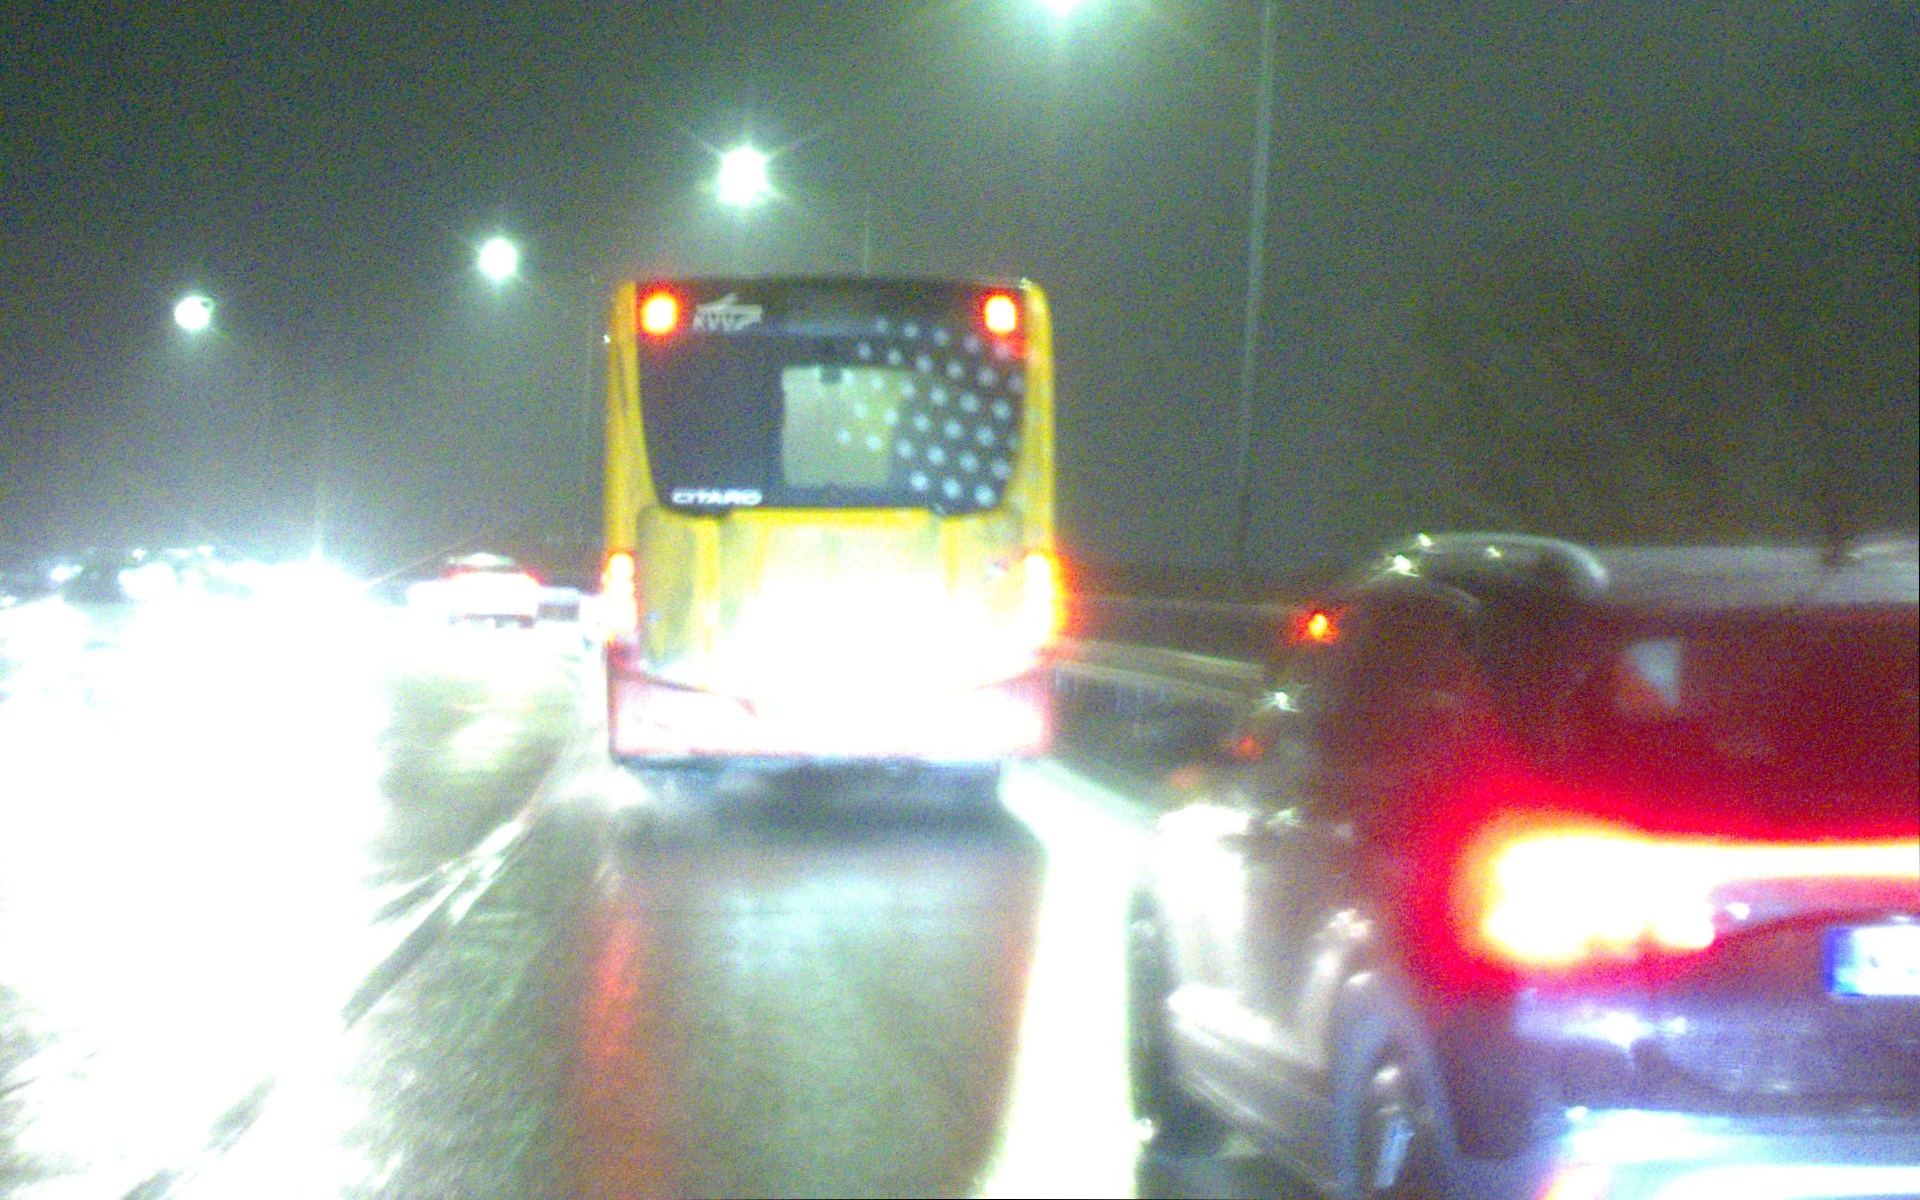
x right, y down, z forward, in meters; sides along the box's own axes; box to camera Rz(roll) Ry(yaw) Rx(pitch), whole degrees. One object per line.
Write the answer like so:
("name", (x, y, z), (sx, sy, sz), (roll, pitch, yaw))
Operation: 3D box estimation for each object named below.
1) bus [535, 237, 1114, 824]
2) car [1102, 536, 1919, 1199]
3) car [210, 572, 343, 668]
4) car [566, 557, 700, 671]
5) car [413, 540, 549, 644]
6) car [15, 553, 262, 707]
("bus", (-1.446, -0.501, 24.856), (3.083, 3.122, 12.700), (1, 1, -7))
("car", (1.471, 0.677, 7.319), (1.855, 1.581, 4.001), (0, 0, -5))
("car", (-10.626, 0.281, 53.658), (1.766, 1.422, 4.220), (-1, 1, -8))
("car", (-5.025, 0.183, 52.462), (1.635, 1.650, 3.711), (1, 0, -11))
("car", (-9.633, -0.190, 68.923), (1.993, 2.007, 4.001), (0, 1, -18))
("car", (-8.557, 0.271, 36.102), (1.766, 1.512, 3.949), (1, 1, -2))
